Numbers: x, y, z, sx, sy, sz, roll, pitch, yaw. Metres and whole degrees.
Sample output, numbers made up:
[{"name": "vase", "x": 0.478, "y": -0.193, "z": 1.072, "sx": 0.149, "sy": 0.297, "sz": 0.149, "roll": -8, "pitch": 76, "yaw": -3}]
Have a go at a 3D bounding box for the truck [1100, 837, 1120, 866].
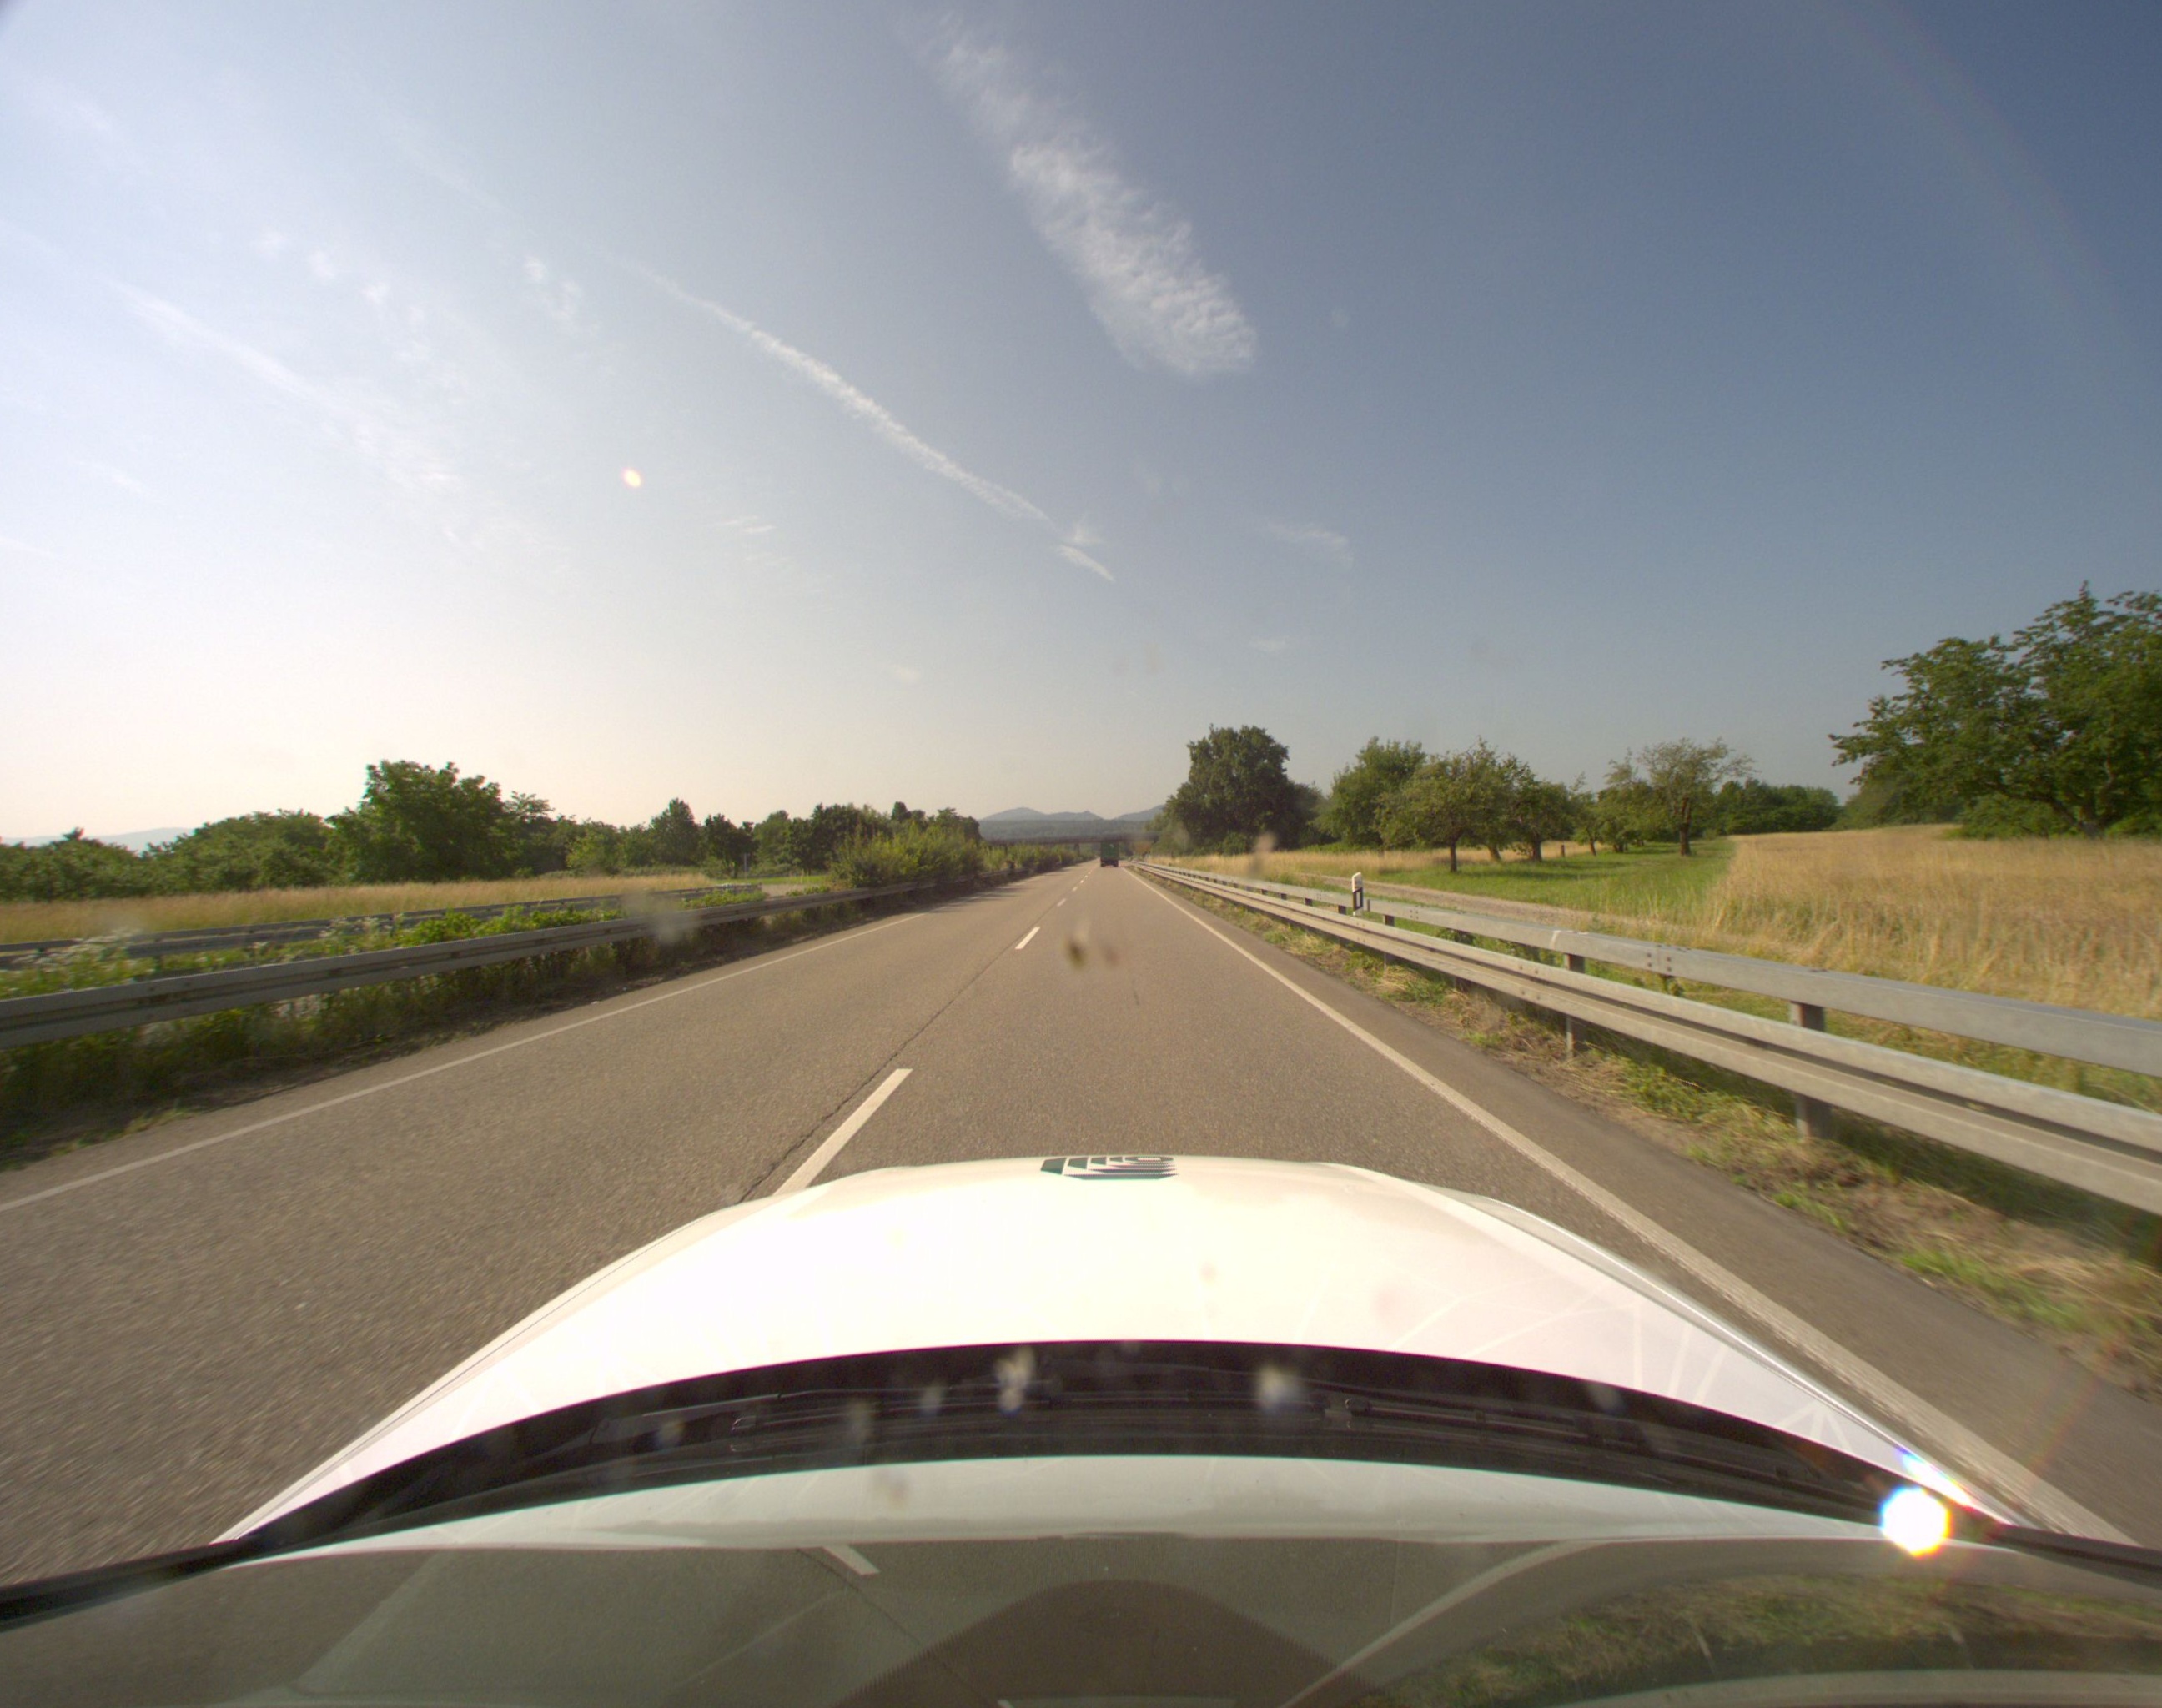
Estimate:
[{"name": "truck", "x": 4.171, "y": -0.410, "z": 116.044, "sx": 2.711, "sy": 3.965, "sz": 10.422, "roll": 0, "pitch": 1, "yaw": 2}]
